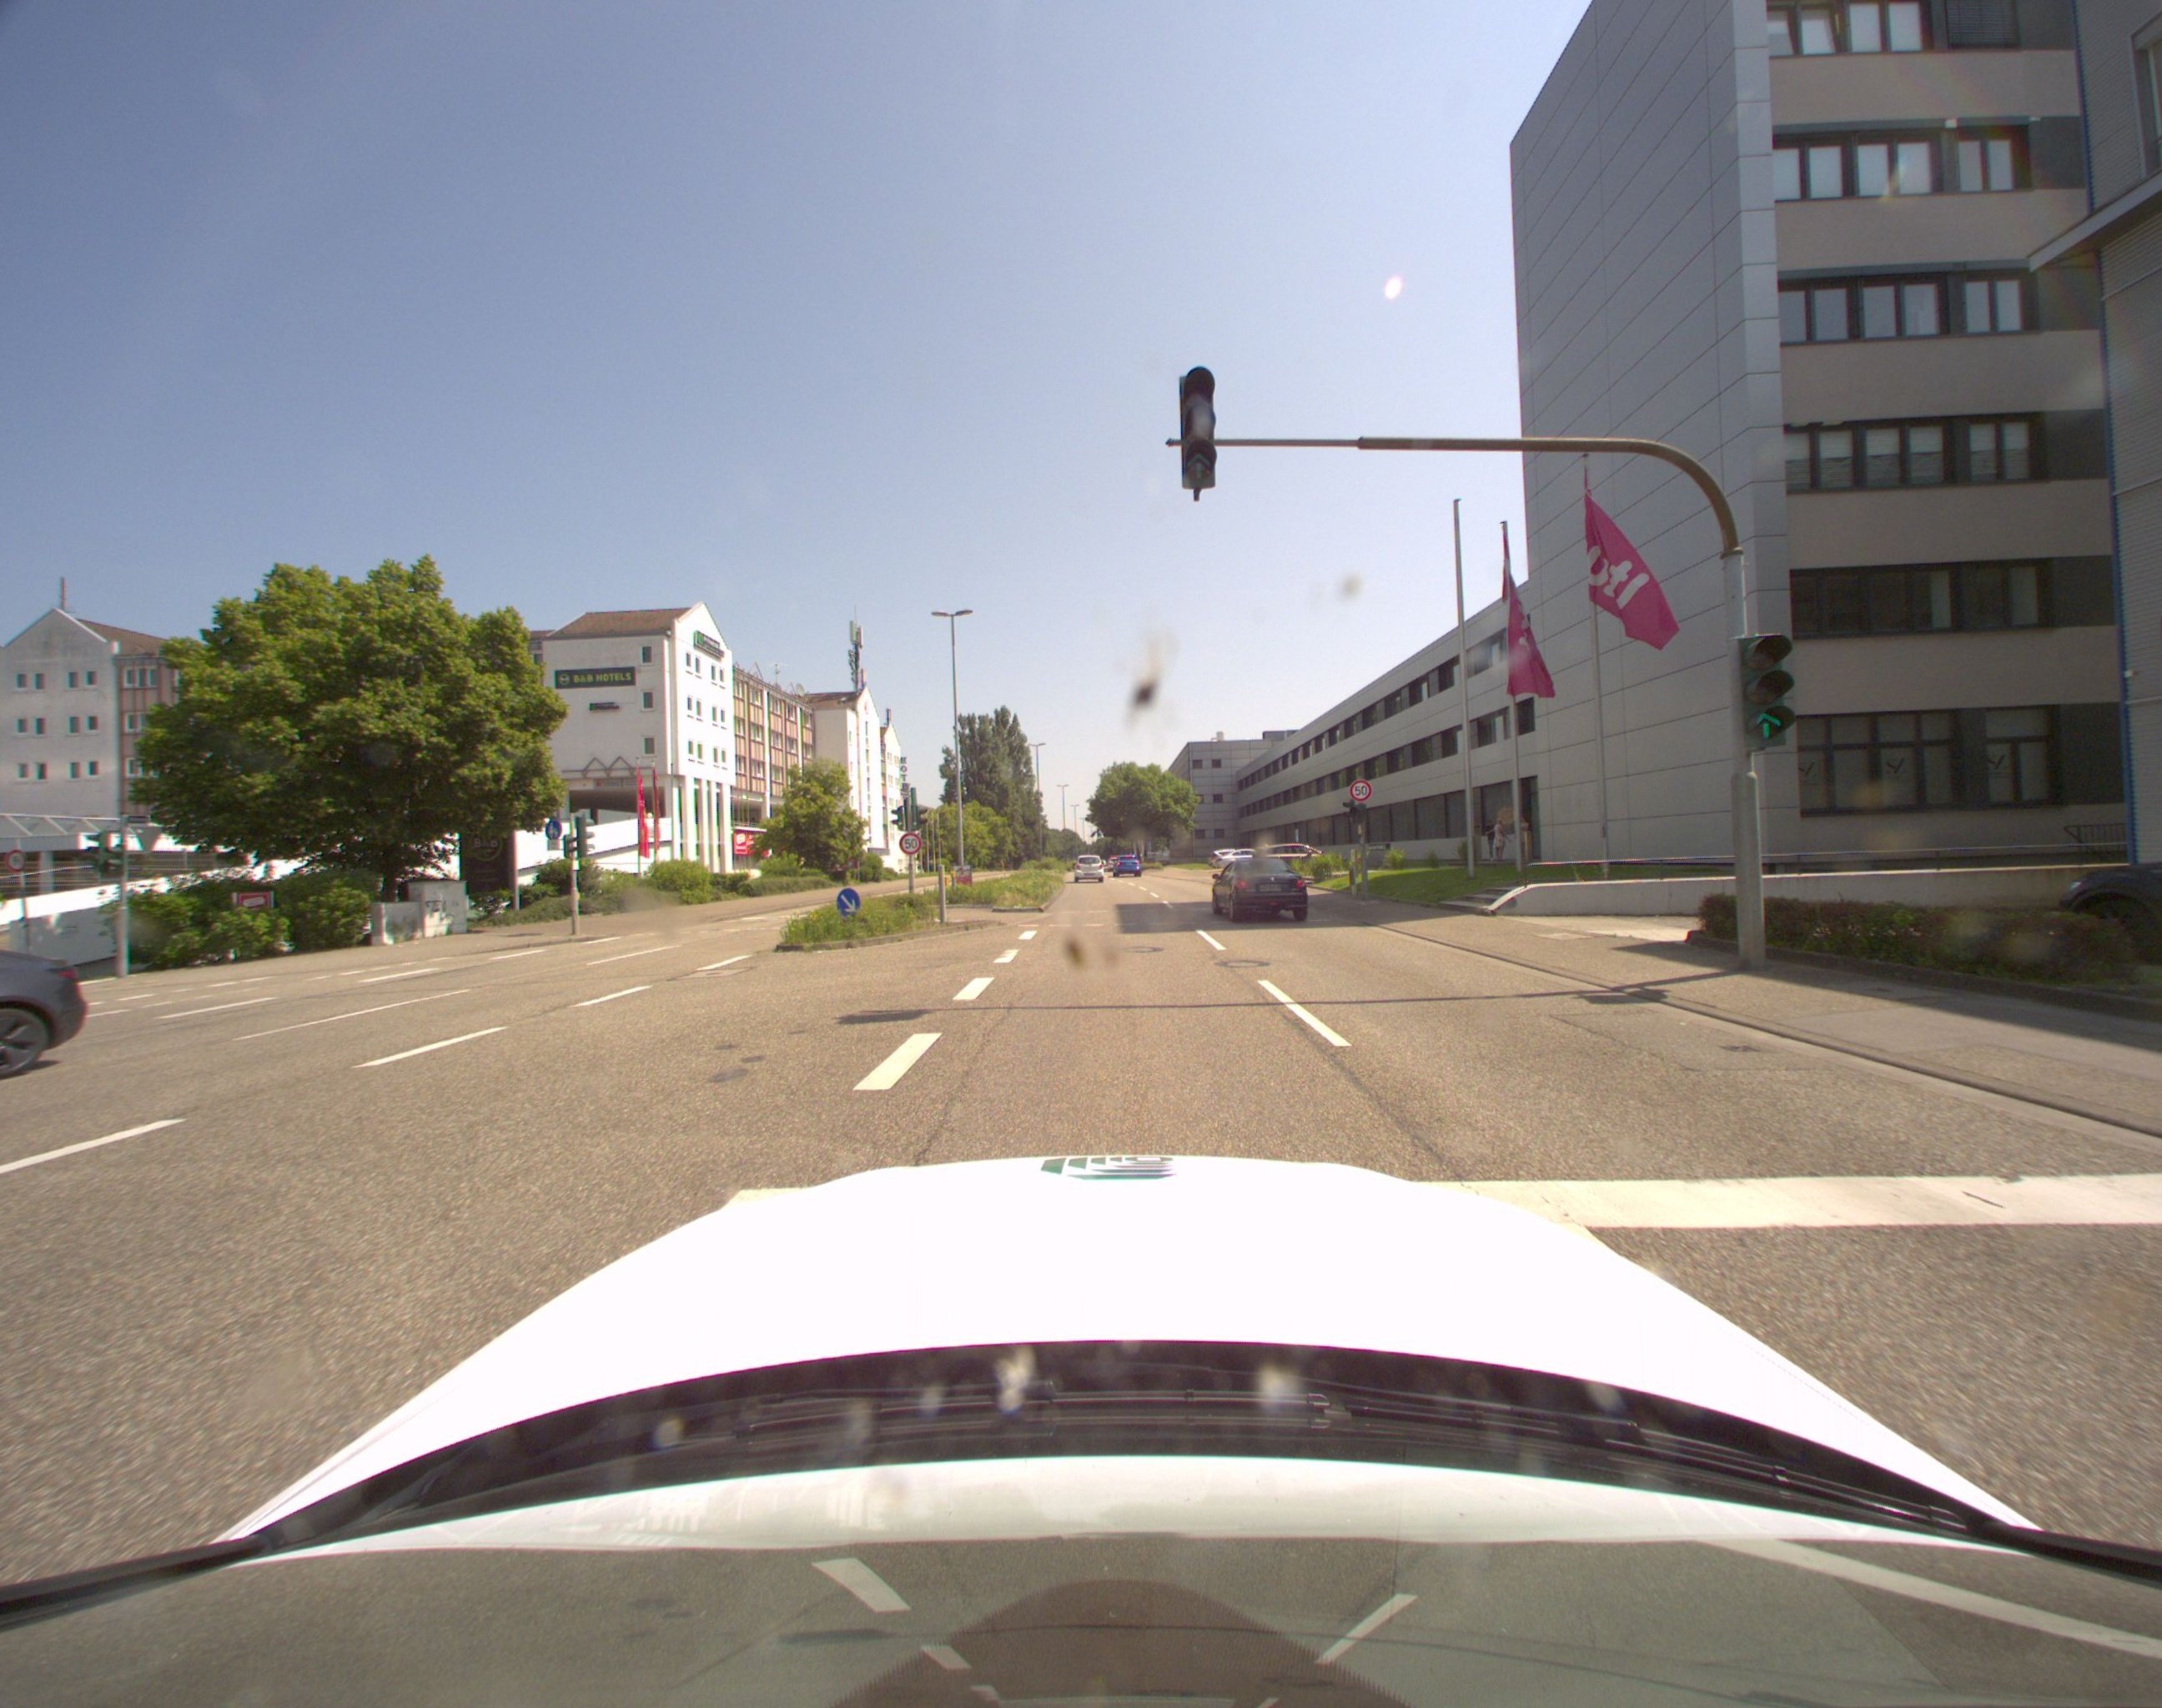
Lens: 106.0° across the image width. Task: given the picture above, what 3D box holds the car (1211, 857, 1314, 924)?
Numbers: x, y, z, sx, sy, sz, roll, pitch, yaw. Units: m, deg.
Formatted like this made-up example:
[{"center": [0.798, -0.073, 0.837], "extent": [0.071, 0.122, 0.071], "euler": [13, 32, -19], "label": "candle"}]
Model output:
[{"center": [4.077, 0.774, 18.849], "extent": [1.621, 1.364, 3.606], "euler": [-2, 0, 1], "label": "car"}]

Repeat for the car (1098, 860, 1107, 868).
[{"center": [4.852, 2.187, 184.113], "extent": [1.813, 1.662, 4.000], "euler": [-3, -1, 1], "label": "car"}]

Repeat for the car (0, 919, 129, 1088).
[{"center": [-10.996, 1.455, 6.233], "extent": [1.986, 1.486, 4.503], "euler": [-3, 0, 2], "label": "car"}]

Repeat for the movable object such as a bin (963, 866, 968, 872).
[{"center": [-14.069, 1.886, 99.335], "extent": [0.425, 0.705, 0.654], "euler": [-3, -1, 10], "label": "movable object such as a bin"}]

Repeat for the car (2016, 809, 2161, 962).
[{"center": [11.658, 0.296, 7.292], "extent": [1.837, 1.531, 4.199], "euler": [-1, 0, 2], "label": "car"}]

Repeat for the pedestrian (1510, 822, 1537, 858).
[{"center": [17.645, -0.555, 32.487], "extent": [0.521, 1.405, 0.797], "euler": [-3, -1, -8], "label": "pedestrian"}]

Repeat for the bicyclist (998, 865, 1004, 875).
[{"center": [-11.917, 2.366, 121.401], "extent": [0.715, 1.516, 1.026], "euler": [-3, -1, -2], "label": "bicyclist"}]

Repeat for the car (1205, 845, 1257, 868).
[{"center": [12.324, 0.214, 67.004], "extent": [3.804, 1.592, 1.730], "euler": [-5, -1, -3], "label": "car"}]

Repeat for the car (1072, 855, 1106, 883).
[{"center": [0.508, 0.812, 47.181], "extent": [1.741, 1.520, 3.749], "euler": [-1, 0, 3], "label": "car"}]

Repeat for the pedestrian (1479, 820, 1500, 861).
[{"center": [16.783, -0.567, 33.456], "extent": [0.589, 1.634, 0.525], "euler": [-3, -1, 10], "label": "pedestrian"}]

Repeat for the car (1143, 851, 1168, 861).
[{"center": [14.098, 0.465, 154.960], "extent": [4.483, 1.583, 2.000], "euler": [-3, -1, 1], "label": "car"}]

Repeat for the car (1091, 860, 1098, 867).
[{"center": [3.704, 2.614, 227.395], "extent": [1.815, 1.662, 3.997], "euler": [-3, 0, -2], "label": "car"}]

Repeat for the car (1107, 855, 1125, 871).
[{"center": [3.523, 0.866, 80.807], "extent": [1.552, 1.520, 3.610], "euler": [-2, 0, 5], "label": "car"}]

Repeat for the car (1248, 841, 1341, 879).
[{"center": [11.046, 0.307, 42.375], "extent": [4.249, 1.689, 1.998], "euler": [-3, 0, -3], "label": "car"}]

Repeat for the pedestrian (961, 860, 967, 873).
[{"center": [-14.339, 1.498, 99.813], "extent": [0.630, 1.545, 0.727], "euler": [-3, -1, 1], "label": "pedestrian"}]

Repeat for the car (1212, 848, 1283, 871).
[{"center": [11.840, 0.392, 58.125], "extent": [4.602, 1.390, 1.998], "euler": [-3, 0, -3], "label": "car"}]

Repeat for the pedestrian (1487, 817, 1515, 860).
[{"center": [16.561, -0.607, 32.124], "extent": [0.523, 1.663, 0.753], "euler": [-3, -1, -16], "label": "pedestrian"}]

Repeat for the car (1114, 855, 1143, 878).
[{"center": [3.408, 0.876, 58.665], "extent": [1.822, 1.580, 3.605], "euler": [-2, 0, 0], "label": "car"}]
